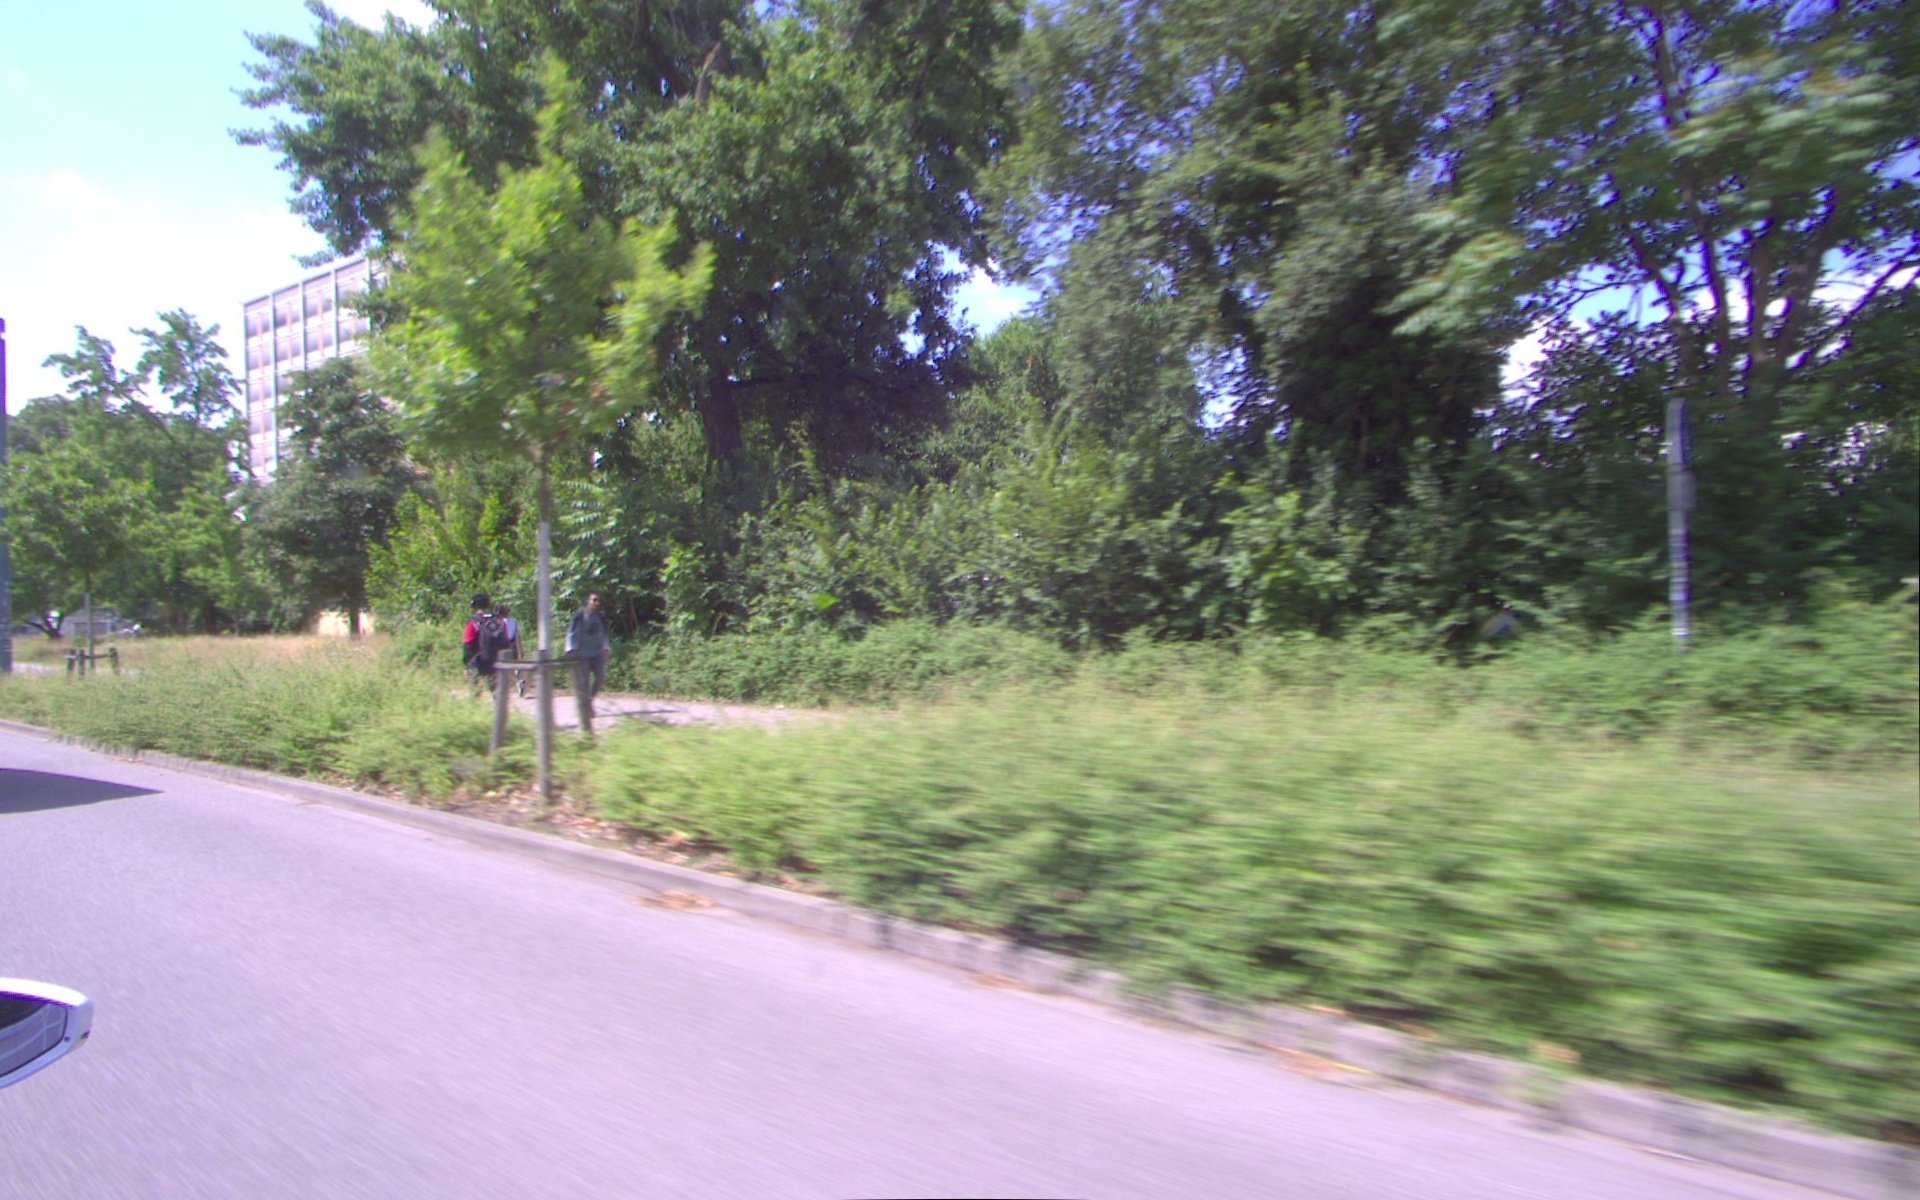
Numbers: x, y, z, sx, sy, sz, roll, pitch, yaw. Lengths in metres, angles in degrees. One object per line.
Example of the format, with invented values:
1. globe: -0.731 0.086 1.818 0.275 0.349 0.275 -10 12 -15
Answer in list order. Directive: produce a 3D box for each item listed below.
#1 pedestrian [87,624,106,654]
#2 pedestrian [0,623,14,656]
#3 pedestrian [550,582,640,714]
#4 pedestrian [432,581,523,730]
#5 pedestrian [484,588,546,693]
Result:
1. pedestrian: -59.655 2.672 69.212 0.834 2.084 0.738 0 0 -26
2. pedestrian: -45.499 1.875 47.458 0.824 1.559 0.842 -1 -1 36
3. pedestrian: -5.039 0.656 13.824 0.918 1.744 0.811 -1 -1 37
4. pedestrian: -5.921 0.665 12.298 0.826 1.744 0.714 -1 -1 37
5. pedestrian: -7.641 0.691 17.195 0.737 1.744 0.720 -1 -1 37
